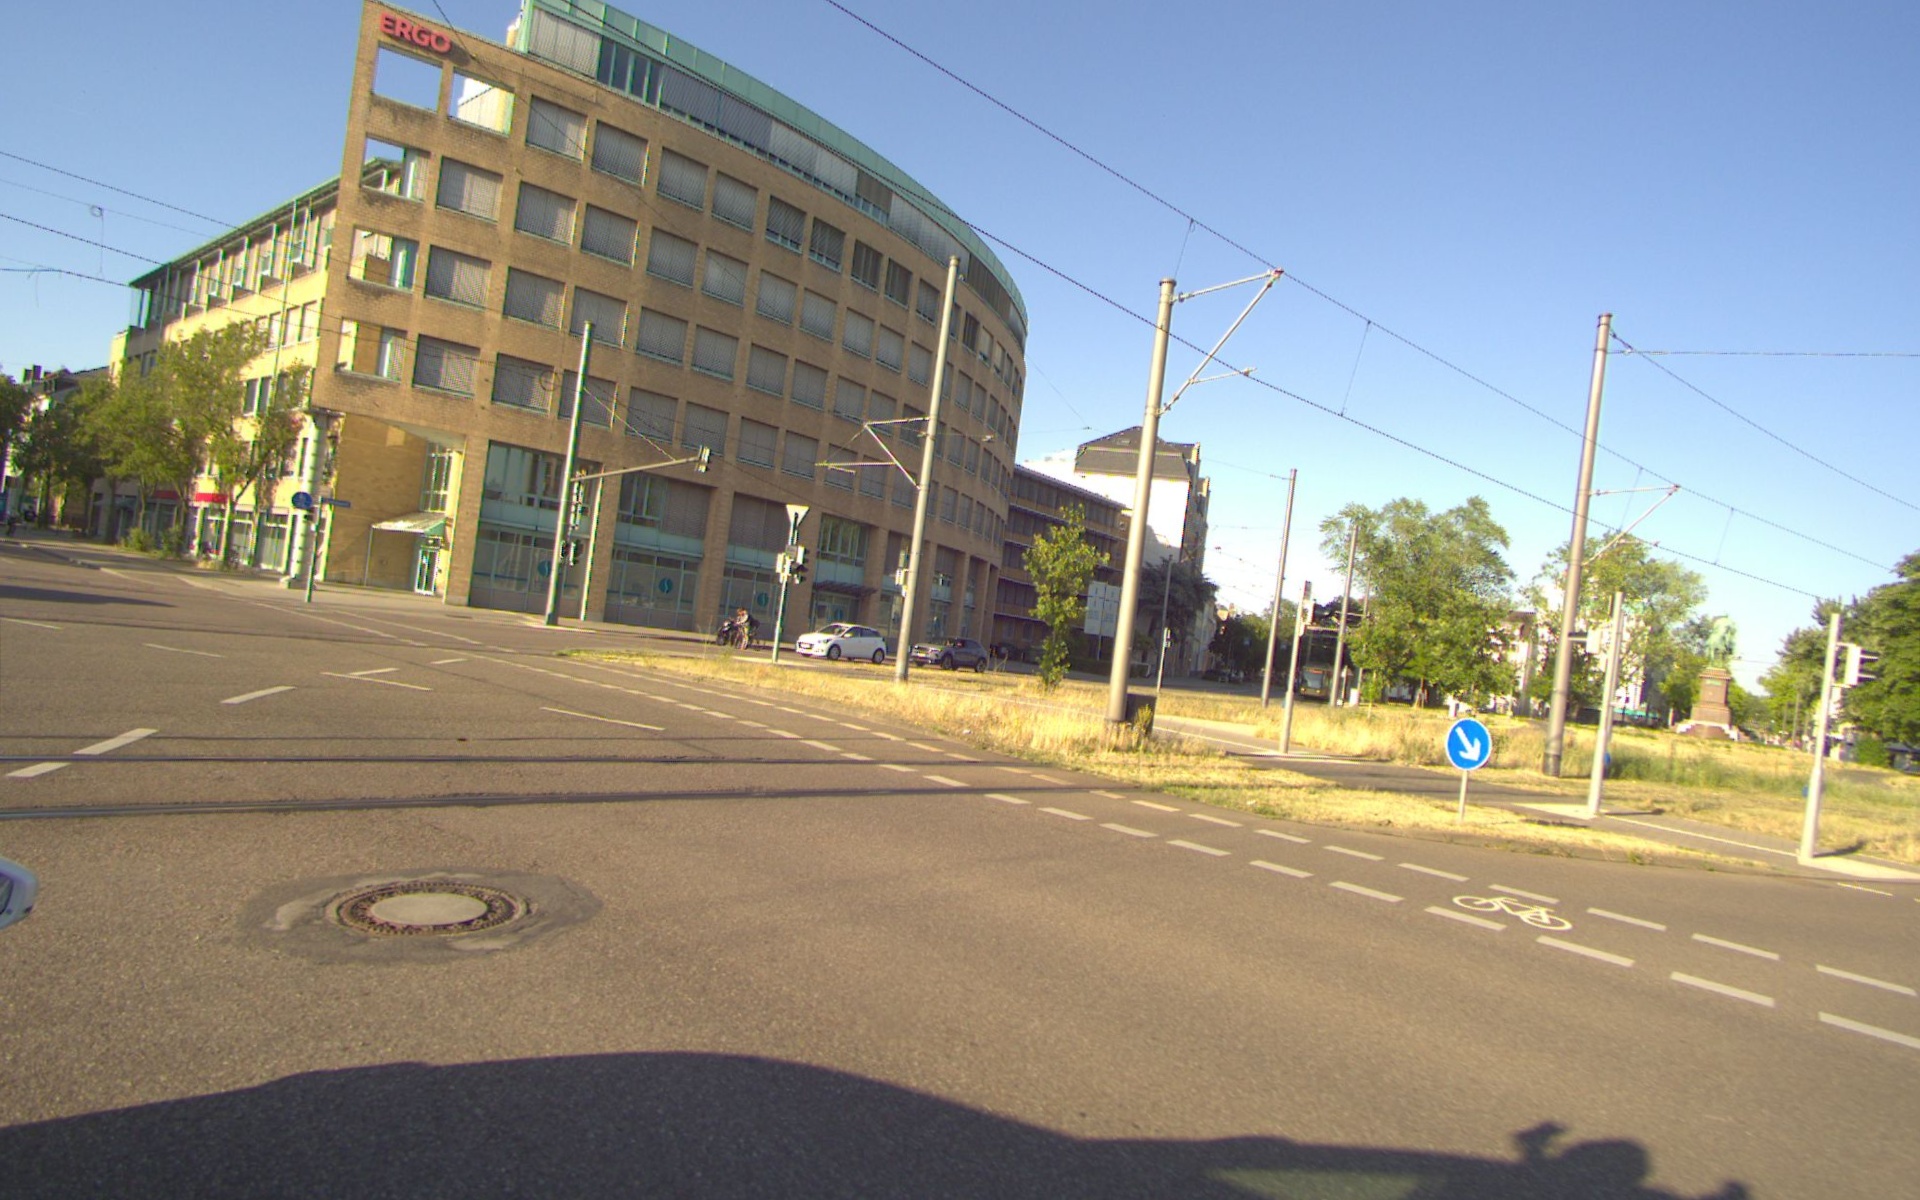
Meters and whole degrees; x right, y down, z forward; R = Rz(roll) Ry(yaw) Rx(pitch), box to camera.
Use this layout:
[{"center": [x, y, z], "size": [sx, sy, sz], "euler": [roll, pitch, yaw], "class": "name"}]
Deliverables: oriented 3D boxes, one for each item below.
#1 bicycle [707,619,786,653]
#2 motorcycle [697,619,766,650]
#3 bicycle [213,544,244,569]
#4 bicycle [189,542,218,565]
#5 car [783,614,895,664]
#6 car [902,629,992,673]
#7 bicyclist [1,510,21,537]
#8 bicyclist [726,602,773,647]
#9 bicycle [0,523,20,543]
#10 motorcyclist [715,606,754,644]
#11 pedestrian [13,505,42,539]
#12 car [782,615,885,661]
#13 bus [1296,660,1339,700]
[{"center": [-8.487, 1.450, 40.064], "size": [1.137, 1.012, 2.960], "euler": [6, -2, 39], "class": "bicycle"}, {"center": [-9.584, 1.466, 42.293], "size": [1.017, 0.975, 2.717], "euler": [6, -2, 39], "class": "motorcycle"}, {"center": [-34.975, -2.066, 48.105], "size": [2.051, 1.006, 0.646], "euler": [6, -2, 40], "class": "bicycle"}, {"center": [-38.495, -2.378, 51.173], "size": [2.051, 1.006, 0.646], "euler": [6, -2, 40], "class": "bicycle"}, {"center": [-4.781, 1.591, 40.273], "size": [1.966, 1.509, 4.163], "euler": [6, -2, 38], "class": "car"}, {"center": [-0.547, 2.352, 45.674], "size": [1.794, 1.509, 4.050], "euler": [6, -2, 39], "class": "car"}, {"center": [-54.556, -4.399, 57.859], "size": [0.916, 1.384, 0.592], "euler": [8, -2, 41], "class": "bicyclist"}, {"center": [-8.391, 0.982, 40.096], "size": [1.137, 1.590, 1.222], "euler": [7, -1, 39], "class": "bicyclist"}, {"center": [-54.649, -3.868, 57.860], "size": [1.950, 0.953, 0.592], "euler": [7, -2, 41], "class": "bicycle"}, {"center": [-9.482, 1.056, 42.358], "size": [1.017, 1.452, 1.065], "euler": [6, -1, 40], "class": "motorcyclist"}, {"center": [-61.218, -5.106, 66.029], "size": [1.145, 1.999, 1.107], "euler": [6, -1, 41], "class": "pedestrian"}, {"center": [-5.851, 1.795, 46.822], "size": [1.958, 1.555, 4.478], "euler": [6, -2, 41], "class": "car"}, {"center": [34.281, 7.731, 96.201], "size": [2.368, 3.246, 11.117], "euler": [7, -2, 26], "class": "bus"}]
